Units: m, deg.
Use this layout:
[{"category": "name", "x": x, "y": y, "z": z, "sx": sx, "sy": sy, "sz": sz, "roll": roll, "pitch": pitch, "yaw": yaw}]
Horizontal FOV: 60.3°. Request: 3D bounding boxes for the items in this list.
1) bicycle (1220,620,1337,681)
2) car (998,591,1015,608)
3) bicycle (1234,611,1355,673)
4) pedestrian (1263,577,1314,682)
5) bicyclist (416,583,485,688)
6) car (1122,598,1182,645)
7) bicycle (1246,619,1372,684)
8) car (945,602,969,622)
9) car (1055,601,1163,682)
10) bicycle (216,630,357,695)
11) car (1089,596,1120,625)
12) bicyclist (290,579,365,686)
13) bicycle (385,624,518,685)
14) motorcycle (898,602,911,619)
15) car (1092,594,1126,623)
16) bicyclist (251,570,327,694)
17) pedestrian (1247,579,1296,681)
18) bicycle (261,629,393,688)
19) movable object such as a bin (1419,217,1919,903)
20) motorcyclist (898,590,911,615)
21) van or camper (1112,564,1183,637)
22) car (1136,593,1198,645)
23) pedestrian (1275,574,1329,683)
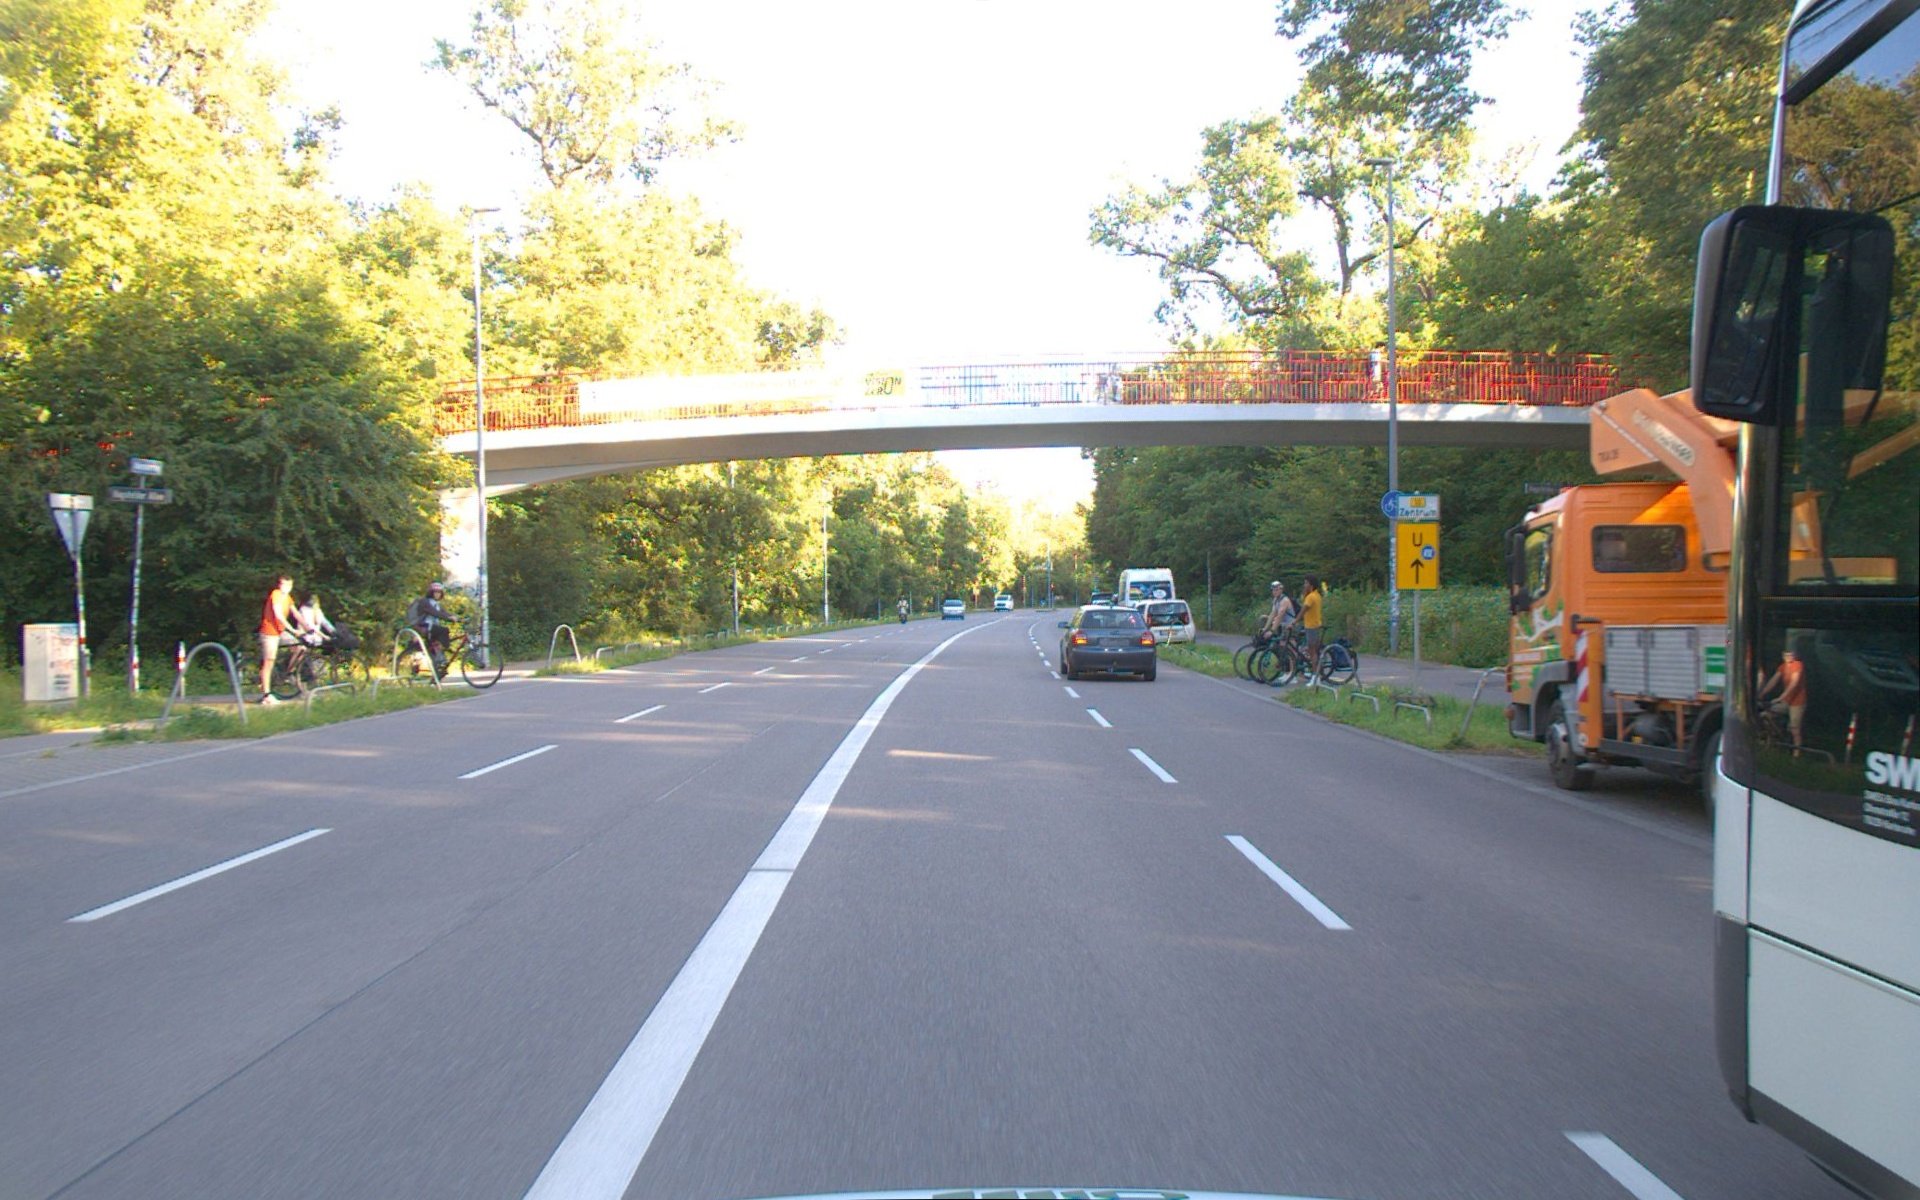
[{"category": "bicycle", "x": 6.012, "y": 0.951, "z": 31.325, "sx": 2.021, "sy": 1.087, "sz": 0.870, "roll": -1, "pitch": 0, "yaw": -4}, {"category": "car", "x": 5.769, "y": -0.037, "z": 205.083, "sx": 1.952, "sy": 2.027, "sz": 4.999, "roll": 0, "pitch": 0, "yaw": 3}, {"category": "bicycle", "x": 6.091, "y": 0.759, "z": 30.183, "sx": 2.021, "sy": 1.087, "sz": 0.870, "roll": -1, "pitch": 0, "yaw": -4}, {"category": "pedestrian", "x": 6.001, "y": 0.527, "z": 30.215, "sx": 0.685, "sy": 1.885, "sz": 0.938, "roll": -1, "pitch": 0, "yaw": -4}, {"category": "bicyclist", "x": -8.251, "y": 0.570, "z": 26.811, "sx": 0.778, "sy": 1.672, "sz": 0.842, "roll": 0, "pitch": 0, "yaw": 9}, {"category": "car", "x": 6.408, "y": 0.685, "z": 55.443, "sx": 1.687, "sy": 1.522, "sz": 4.146, "roll": 0, "pitch": 0, "yaw": 2}, {"category": "bicycle", "x": 6.149, "y": 0.906, "z": 29.226, "sx": 2.021, "sy": 1.087, "sz": 0.870, "roll": -1, "pitch": 0, "yaw": -4}, {"category": "car", "x": -0.212, "y": 0.910, "z": 124.972, "sx": 1.646, "sy": 1.431, "sz": 3.890, "roll": -1, "pitch": 0, "yaw": 2}, {"category": "car", "x": 2.857, "y": 0.759, "z": 32.430, "sx": 1.692, "sy": 1.467, "sz": 4.089, "roll": 0, "pitch": 0, "yaw": -1}, {"category": "bicycle", "x": -10.625, "y": 0.981, "z": 26.119, "sx": 1.885, "sy": 0.951, "sz": 0.825, "roll": -1, "pitch": 0, "yaw": 10}, {"category": "car", "x": 8.038, "y": 0.568, "z": 92.212, "sx": 1.691, "sy": 1.571, "sz": 4.219, "roll": 0, "pitch": 0, "yaw": 4}, {"category": "bicyclist", "x": -10.442, "y": 0.526, "z": 27.323, "sx": 0.778, "sy": 1.727, "sz": 0.946, "roll": -1, "pitch": 0, "yaw": 9}, {"category": "bicycle", "x": -8.234, "y": 0.873, "z": 26.804, "sx": 1.885, "sy": 0.951, "sz": 0.825, "roll": -1, "pitch": 0, "yaw": 10}, {"category": "motorcycle", "x": -3.412, "y": 0.634, "z": 101.607, "sx": 0.623, "sy": 1.013, "sz": 2.077, "roll": 0, "pitch": 0, "yaw": 2}, {"category": "car", "x": 7.824, "y": 0.442, "z": 87.068, "sx": 1.691, "sy": 1.467, "sz": 4.102, "roll": 0, "pitch": 0, "yaw": 4}, {"category": "bicyclist", "x": -10.591, "y": 0.496, "z": 26.122, "sx": 0.778, "sy": 1.934, "sz": 0.818, "roll": -1, "pitch": 0, "yaw": 9}, {"category": "pedestrian", "x": 5.897, "y": 0.555, "z": 31.326, "sx": 0.685, "sy": 1.885, "sz": 0.938, "roll": -1, "pitch": 0, "yaw": -4}, {"category": "bicycle", "x": -10.456, "y": 0.959, "z": 27.339, "sx": 1.885, "sy": 0.951, "sz": 0.825, "roll": 0, "pitch": 0, "yaw": 10}, {"category": "movable object such as a bin", "x": 5.915, "y": -0.230, "z": 11.796, "sx": 2.704, "sy": 3.429, "sz": 7.594, "roll": -1, "pitch": 0, "yaw": -4}, {"category": "motorcyclist", "x": -3.403, "y": 0.181, "z": 101.602, "sx": 0.709, "sy": 1.531, "sz": 0.672, "roll": 0, "pitch": 0, "yaw": 1}, {"category": "van or camper", "x": 6.933, "y": 0.006, "z": 61.734, "sx": 2.075, "sy": 2.561, "sz": 5.981, "roll": -1, "pitch": 0, "yaw": 1}, {"category": "car", "x": 6.290, "y": 0.557, "z": 50.545, "sx": 1.686, "sy": 1.522, "sz": 3.777, "roll": 0, "pitch": 0, "yaw": 4}, {"category": "pedestrian", "x": 6.039, "y": 0.495, "z": 29.234, "sx": 0.685, "sy": 1.885, "sz": 0.938, "roll": -1, "pitch": 0, "yaw": -4}]
